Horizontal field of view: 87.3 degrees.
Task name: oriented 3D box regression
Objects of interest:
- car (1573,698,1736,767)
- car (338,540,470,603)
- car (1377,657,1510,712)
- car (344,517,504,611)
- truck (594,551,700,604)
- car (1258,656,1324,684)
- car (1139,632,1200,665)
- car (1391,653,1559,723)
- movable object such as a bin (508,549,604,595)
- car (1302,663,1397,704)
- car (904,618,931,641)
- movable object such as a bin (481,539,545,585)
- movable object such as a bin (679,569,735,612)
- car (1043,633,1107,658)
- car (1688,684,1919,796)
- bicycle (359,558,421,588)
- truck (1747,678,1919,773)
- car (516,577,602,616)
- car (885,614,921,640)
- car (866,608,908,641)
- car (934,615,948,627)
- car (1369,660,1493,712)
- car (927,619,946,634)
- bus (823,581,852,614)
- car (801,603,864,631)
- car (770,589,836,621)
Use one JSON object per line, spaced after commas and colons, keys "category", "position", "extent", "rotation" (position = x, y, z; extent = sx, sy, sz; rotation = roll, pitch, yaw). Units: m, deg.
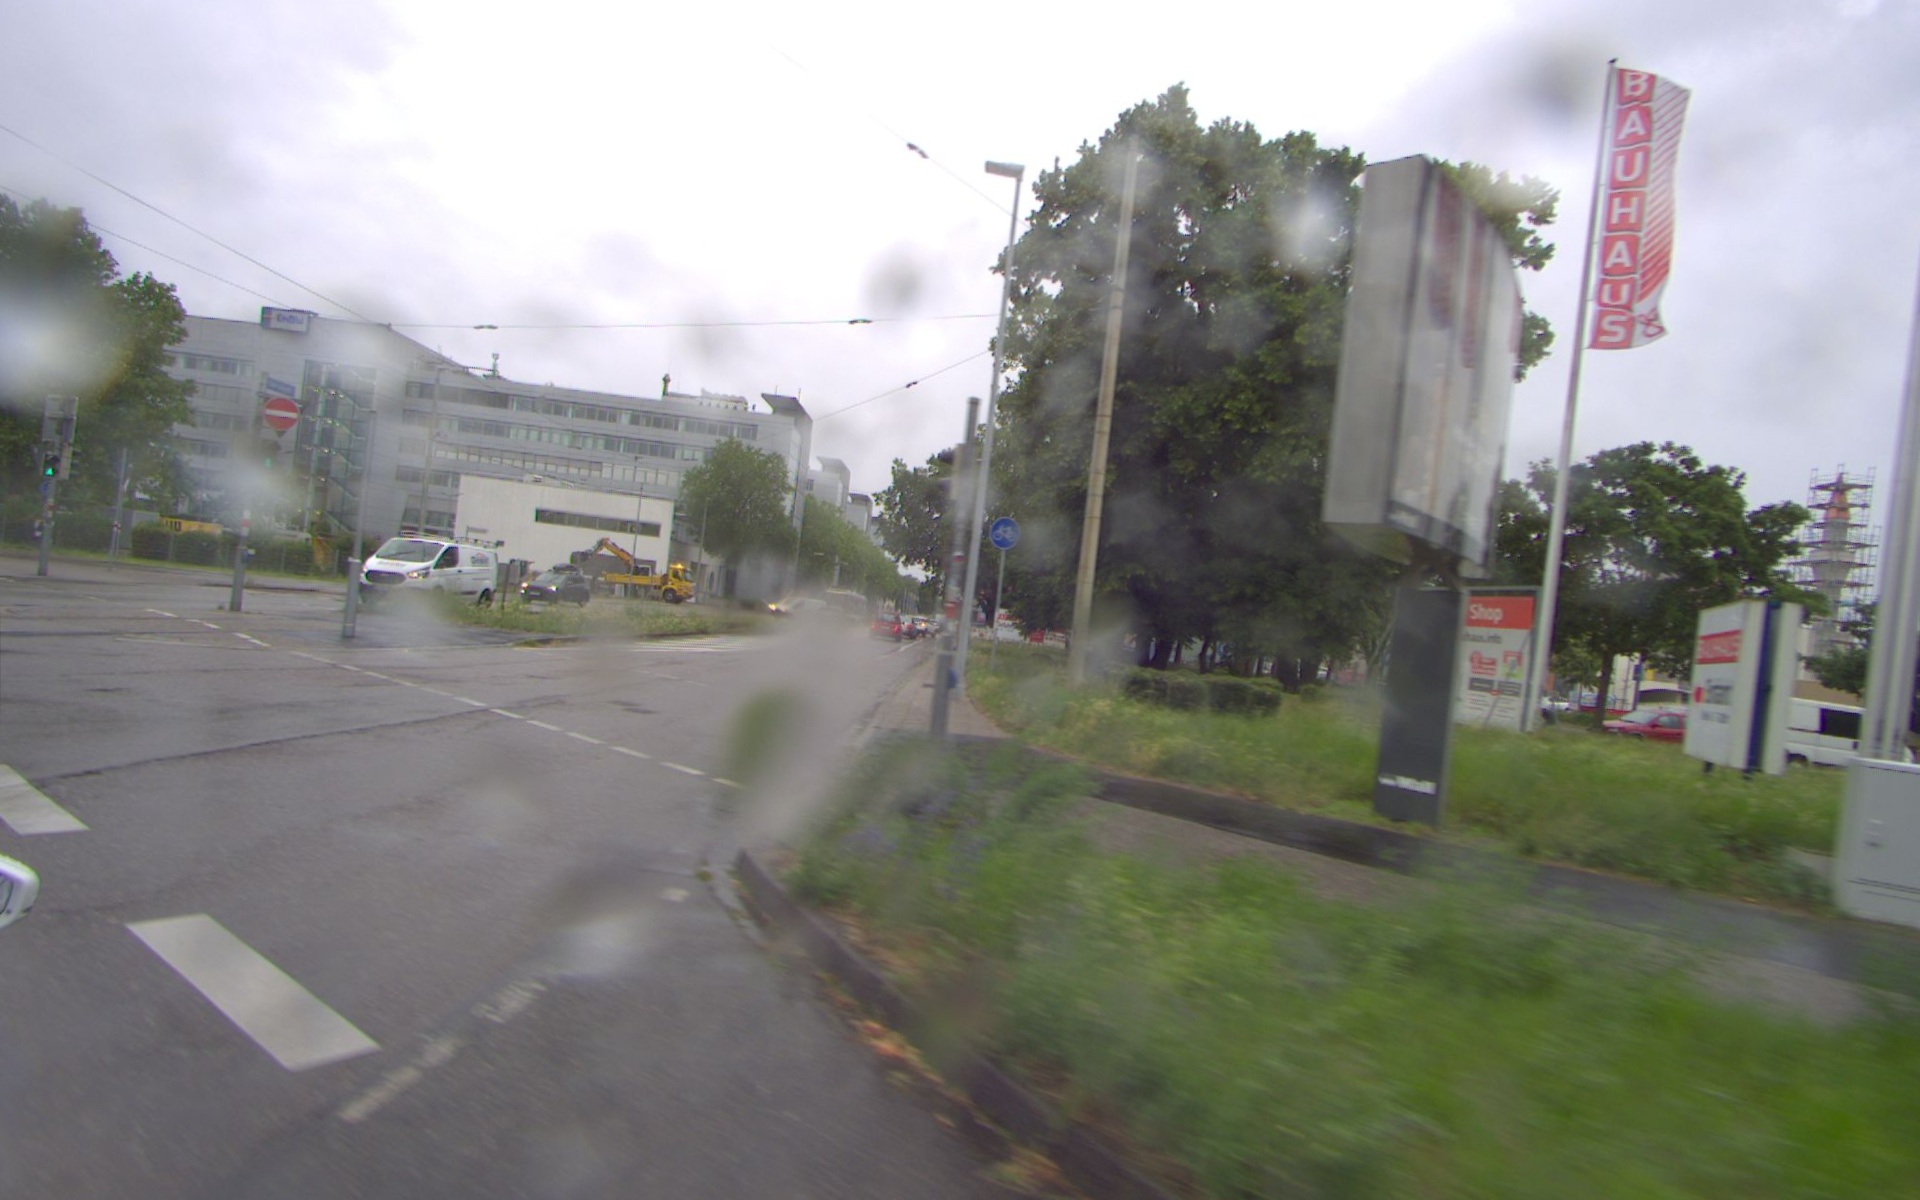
{"category": "car", "position": [22.604, 4.298, 32.846], "extent": [3.929, 1.615, 1.999], "rotation": [7, -1, -6]}
{"category": "car", "position": [-18.162, -0.865, 33.134], "extent": [1.743, 1.640, 4.383], "rotation": [7, -1, 0]}
{"category": "car", "position": [22.359, 3.903, 46.696], "extent": [4.941, 1.859, 2.192], "rotation": [7, -1, 1]}
{"category": "car", "position": [-15.157, -0.919, 28.782], "extent": [1.963, 2.150, 4.690], "rotation": [6, -1, -2]}
{"category": "truck", "position": [-26.784, -1.859, 86.439], "extent": [7.744, 3.550, 3.328], "rotation": [7, 0, 0]}
{"category": "car", "position": [28.641, 6.037, 87.101], "extent": [4.941, 1.752, 1.966], "rotation": [6, -1, 1]}
{"category": "car", "position": [18.119, 4.183, 86.991], "extent": [4.668, 2.239, 1.966], "rotation": [6, 0, 1]}
{"category": "car", "position": [22.256, 3.781, 43.689], "extent": [5.952, 2.231, 2.192], "rotation": [7, 0, 1]}
{"category": "movable object such as a bin", "position": [-34.701, -2.345, 86.575], "extent": [6.598, 3.032, 3.328], "rotation": [7, 0, -1]}
{"category": "car", "position": [24.304, 5.194, 62.854], "extent": [4.941, 1.859, 2.192], "rotation": [7, -1, 1]}
{"category": "car", "position": [-3.411, 2.414, 81.754], "extent": [1.892, 1.605, 4.627], "rotation": [7, -1, 0]}
{"category": "movable object such as a bin", "position": [-34.664, -2.883, 78.134], "extent": [3.270, 3.032, 3.328], "rotation": [7, 0, -1]}
{"category": "movable object such as a bin", "position": [-23.821, -0.852, 95.086], "extent": [3.266, 3.549, 6.323], "rotation": [6, -1, 0]}
{"category": "car", "position": [11.138, 4.402, 97.885], "extent": [5.851, 1.752, 2.278], "rotation": [6, -1, 0]}
{"category": "car", "position": [22.773, 3.712, 26.883], "extent": [5.012, 2.230, 2.191], "rotation": [7, -1, -5]}
{"category": "bicycle", "position": [-25.507, -1.219, 45.013], "extent": [2.293, 1.059, 0.841], "rotation": [7, -1, -36]}
{"category": "truck", "position": [40.359, 5.593, 45.121], "extent": [2.506, 3.509, 9.407], "rotation": [8, -2, 1]}
{"category": "car", "position": [-19.634, -0.135, 49.520], "extent": [1.765, 1.542, 4.650], "rotation": [7, -1, 8]}
{"category": "car", "position": [-3.836, 1.866, 68.594], "extent": [1.891, 1.508, 4.833], "rotation": [6, -2, 1]}
{"category": "car", "position": [-3.991, 1.371, 55.823], "extent": [1.647, 1.507, 3.821], "rotation": [7, -2, 4]}
{"category": "car", "position": [-2.884, 3.160, 152.816], "extent": [1.891, 1.508, 4.833], "rotation": [6, -2, 1]}
{"category": "car", "position": [23.317, 4.223, 49.930], "extent": [4.941, 1.859, 2.192], "rotation": [7, -1, 1]}
{"category": "car", "position": [-2.769, 3.159, 119.487], "extent": [1.891, 1.508, 4.833], "rotation": [6, -2, 1]}
{"category": "bus", "position": [-12.676, -0.196, 103.981], "extent": [2.484, 3.072, 8.521], "rotation": [6, -1, -7]}
{"category": "car", "position": [-10.971, 1.468, 87.025], "extent": [4.965, 1.673, 1.884], "rotation": [7, -3, 4]}
{"category": "car", "position": [-13.988, 0.424, 89.556], "extent": [5.321, 2.035, 1.982], "rotation": [10, -4, -35]}
